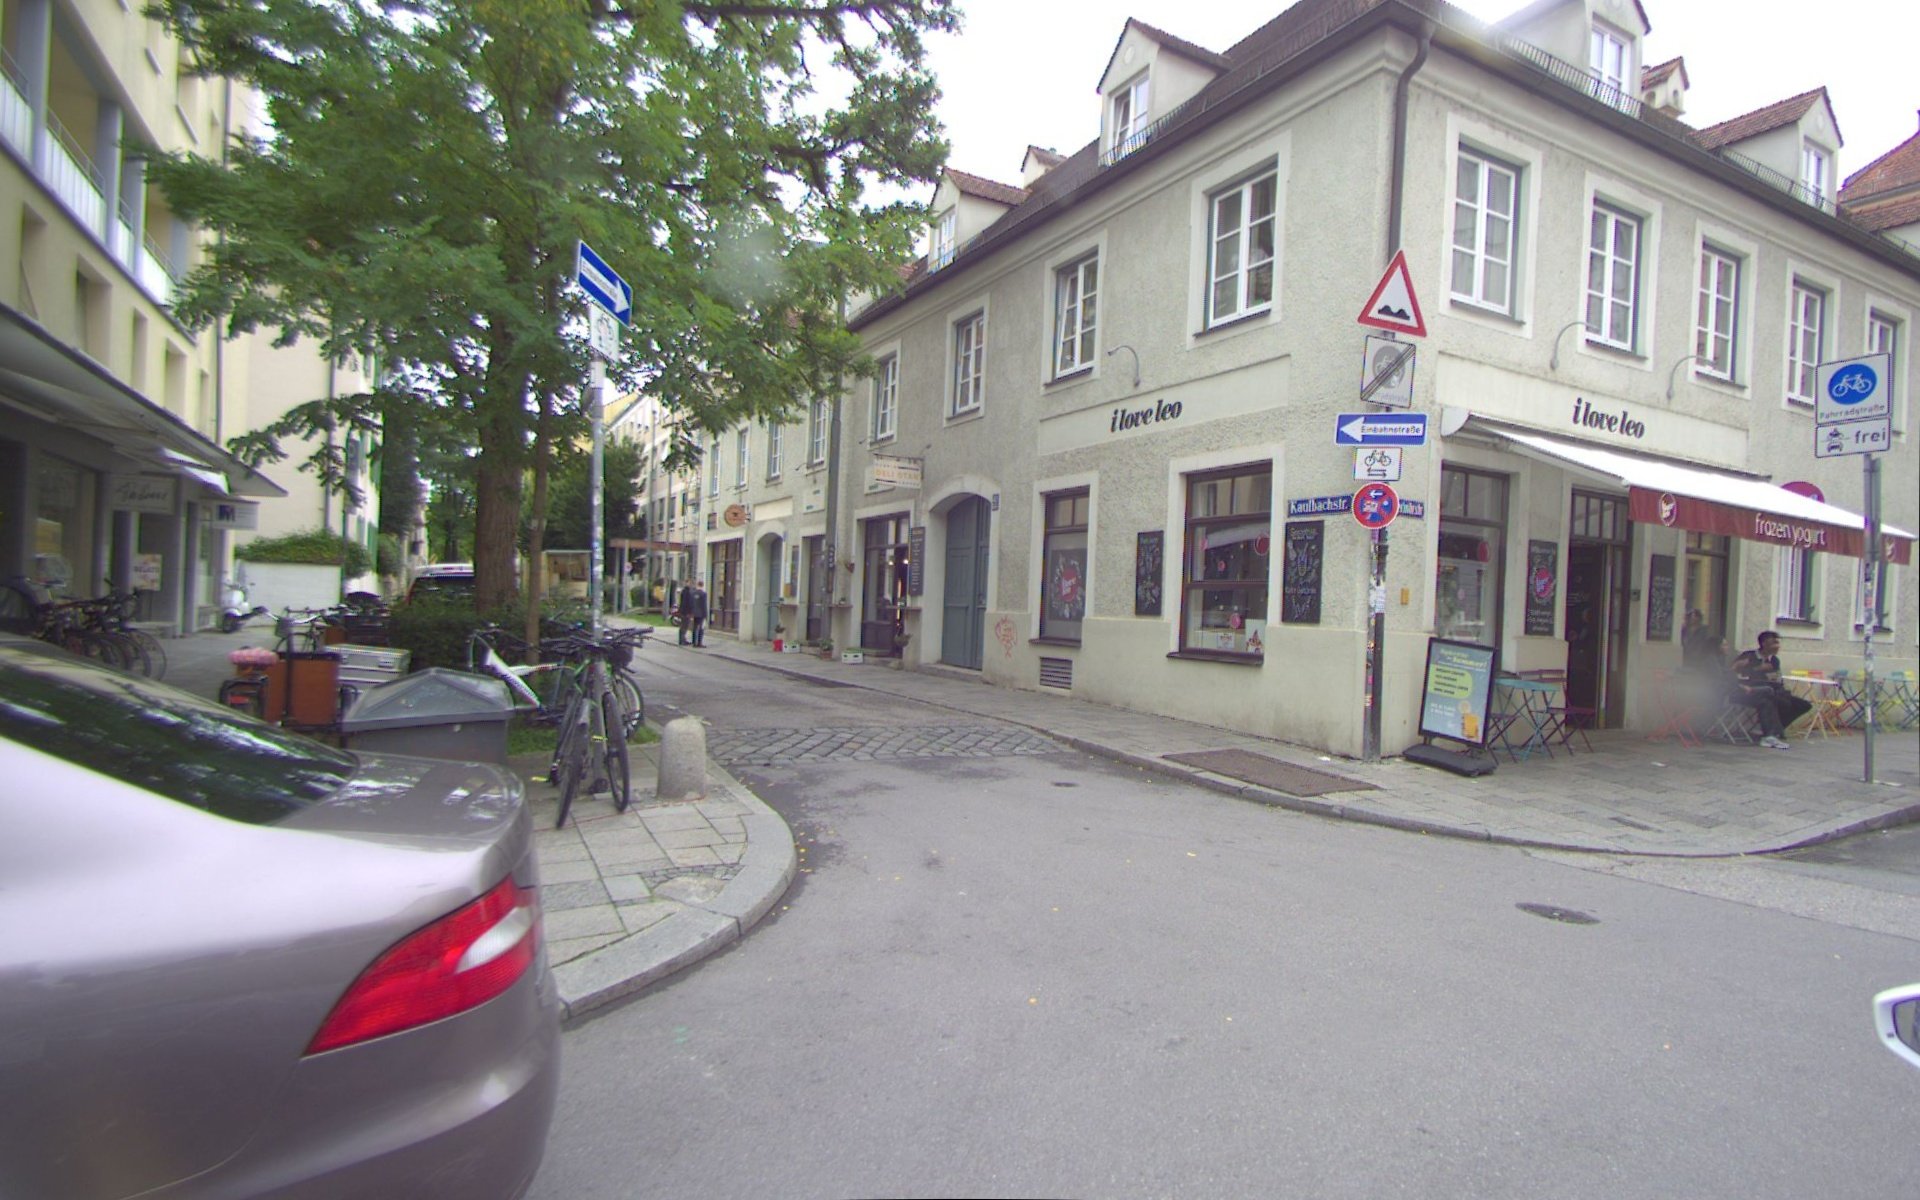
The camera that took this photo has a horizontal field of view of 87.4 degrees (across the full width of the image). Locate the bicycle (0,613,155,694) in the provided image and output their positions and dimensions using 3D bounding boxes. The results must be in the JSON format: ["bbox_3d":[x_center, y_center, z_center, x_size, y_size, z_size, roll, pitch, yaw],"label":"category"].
[{"bbox_3d":[-9.515,0.557,10.459,1.703,0.790,0.290,4,-1,-31],"label":"bicycle"}]

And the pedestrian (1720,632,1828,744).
[{"bbox_3d":[10.056,1.075,12.425,0.685,1.307,0.800,4,-1,-28],"label":"pedestrian"}]

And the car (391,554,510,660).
[{"bbox_3d":[-10.089,0.091,20.084,1.881,1.870,4.433,-1,1,-25],"label":"car"}]

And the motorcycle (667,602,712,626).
[{"bbox_3d":[-10.745,0.566,39.944,1.618,0.885,0.410,4,-1,-30],"label":"motorcycle"}]

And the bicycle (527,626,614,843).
[{"bbox_3d":[-2.477,0.750,6.305,0.386,1.049,1.812,1,2,-24],"label":"bicycle"}]

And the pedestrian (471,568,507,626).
[{"bbox_3d":[-13.527,-0.075,28.861,0.565,1.618,0.679,2,-1,36],"label":"pedestrian"}]

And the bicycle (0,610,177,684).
[{"bbox_3d":[-10.093,0.547,11.510,1.703,0.790,0.290,4,-1,-31],"label":"bicycle"}]

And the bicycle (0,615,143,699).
[{"bbox_3d":[-9.222,0.563,9.935,1.703,0.790,0.290,4,-1,-31],"label":"bicycle"}]

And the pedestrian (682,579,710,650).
[{"bbox_3d":[-6.945,0.377,26.432,0.524,1.810,0.488,4,-1,-30],"label":"pedestrian"}]

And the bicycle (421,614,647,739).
[{"bbox_3d":[-3.615,0.660,8.590,1.697,0.978,0.377,4,1,-32],"label":"bicycle"}]

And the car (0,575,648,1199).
[{"bbox_3d":[-3.073,0.665,1.203,4.893,1.491,1.671,2,-1,-31],"label":"car"}]

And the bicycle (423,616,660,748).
[{"bbox_3d":[-3.365,0.667,8.165,1.697,0.978,0.377,4,1,-32],"label":"bicycle"}]

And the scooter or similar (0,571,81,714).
[{"bbox_3d":[-8.722,0.344,8.841,1.180,1.217,0.999,3,-1,21],"label":"scooter or similar"}]

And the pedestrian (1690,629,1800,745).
[{"bbox_3d":[9.433,1.033,12.076,0.685,1.307,0.800,4,-1,-28],"label":"pedestrian"}]

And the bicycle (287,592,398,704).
[{"bbox_3d":[-7.512,0.568,12.331,0.806,1.227,2.360,4,-2,-25],"label":"bicycle"}]

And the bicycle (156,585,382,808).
[{"bbox_3d":[-4.830,0.561,7.258,0.806,1.227,2.834,4,1,-25],"label":"bicycle"}]

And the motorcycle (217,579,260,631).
[{"bbox_3d":[-16.611,0.095,23.140,0.456,1.099,1.833,3,1,-26],"label":"motorcycle"}]

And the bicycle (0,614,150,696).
[{"bbox_3d":[-9.362,0.561,10.196,1.703,0.790,0.290,4,-1,-31],"label":"bicycle"}]

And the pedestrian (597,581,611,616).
[{"bbox_3d":[-18.209,-0.061,51.373,0.550,1.752,0.527,3,-1,-27],"label":"pedestrian"}]

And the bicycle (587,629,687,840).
[{"bbox_3d":[-2.119,0.774,6.479,0.386,1.049,1.812,1,2,-24],"label":"bicycle"}]

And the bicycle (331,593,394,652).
[{"bbox_3d":[-12.391,0.444,20.891,0.806,1.117,2.359,4,-1,-25],"label":"bicycle"}]

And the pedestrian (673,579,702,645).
[{"bbox_3d":[-7.348,0.325,27.068,0.524,1.752,0.552,4,-1,-30],"label":"pedestrian"}]

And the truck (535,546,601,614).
[{"bbox_3d":[-20.892,-1.019,53.350,2.547,3.236,6.693,4,-1,-26],"label":"truck"}]

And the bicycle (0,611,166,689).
[{"bbox_3d":[-9.811,0.552,10.986,1.703,0.790,0.290,4,-1,-31],"label":"bicycle"}]

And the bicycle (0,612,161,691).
[{"bbox_3d":[-9.662,0.555,10.721,1.703,0.790,0.290,4,-1,-31],"label":"bicycle"}]

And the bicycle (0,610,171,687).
[{"bbox_3d":[-9.952,0.549,11.244,1.703,0.790,0.290,4,-1,-31],"label":"bicycle"}]
